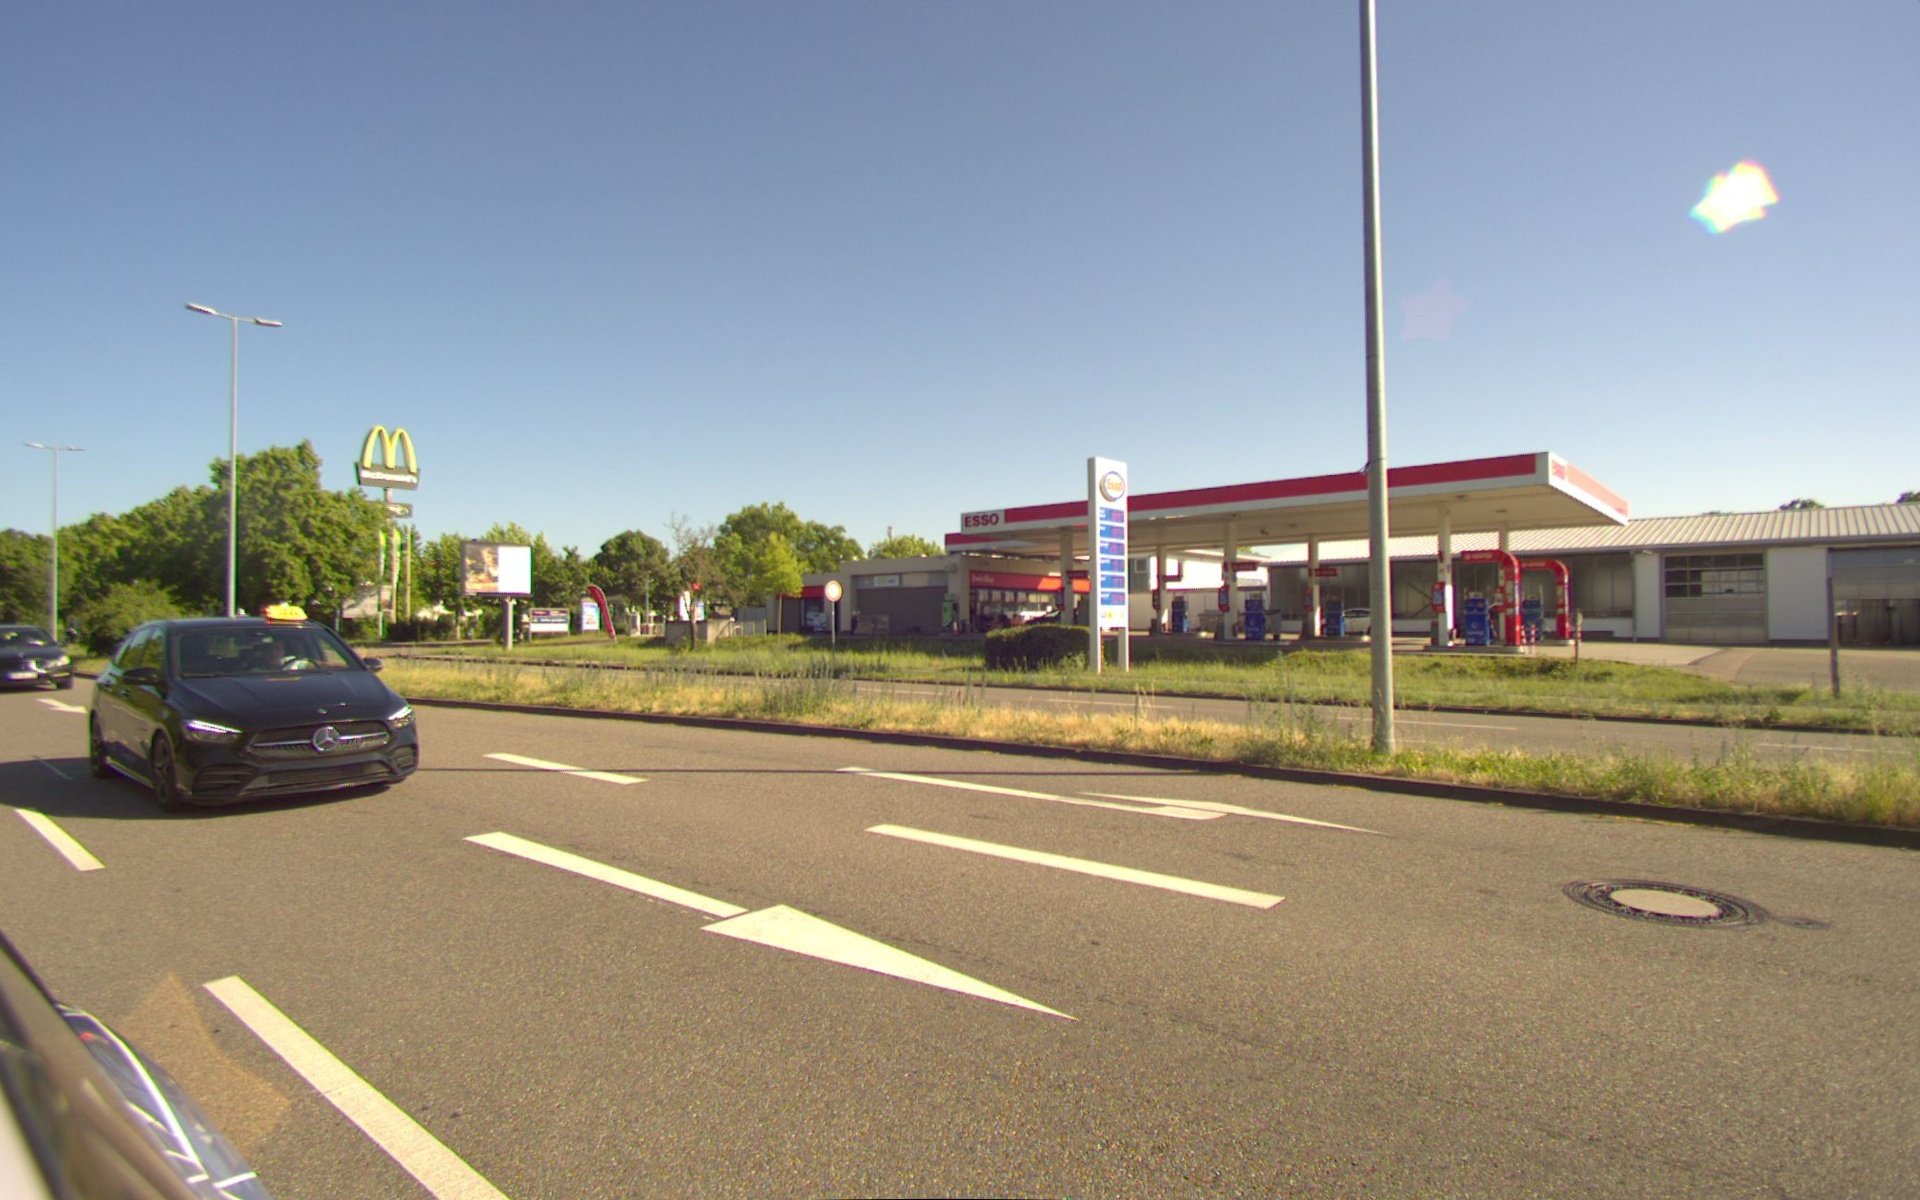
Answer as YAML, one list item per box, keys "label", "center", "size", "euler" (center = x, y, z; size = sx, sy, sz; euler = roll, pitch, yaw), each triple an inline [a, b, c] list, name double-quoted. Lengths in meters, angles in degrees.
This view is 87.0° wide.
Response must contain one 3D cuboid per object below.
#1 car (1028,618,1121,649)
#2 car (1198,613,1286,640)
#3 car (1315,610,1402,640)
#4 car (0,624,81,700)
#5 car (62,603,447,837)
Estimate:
- label: "car"
  center: [5.463, 1.601, 48.411]
  size: [3.998, 1.416, 1.973]
  euler: [-2, -2, 41]
- label: "car"
  center: [16.353, 1.530, 58.739]
  size: [4.540, 1.477, 1.973]
  euler: [-1, 0, 41]
- label: "car"
  center: [21.189, 1.299, 53.881]
  size: [3.855, 1.500, 1.973]
  euler: [-1, 0, 41]
- label: "car"
  center: [-21.428, 1.339, 22.746]
  size: [4.461, 1.521, 1.927]
  euler: [-1, 0, 41]
- label: "car"
  center: [-6.539, 0.878, 9.159]
  size: [4.580, 1.614, 1.765]
  euler: [-2, -1, 40]
